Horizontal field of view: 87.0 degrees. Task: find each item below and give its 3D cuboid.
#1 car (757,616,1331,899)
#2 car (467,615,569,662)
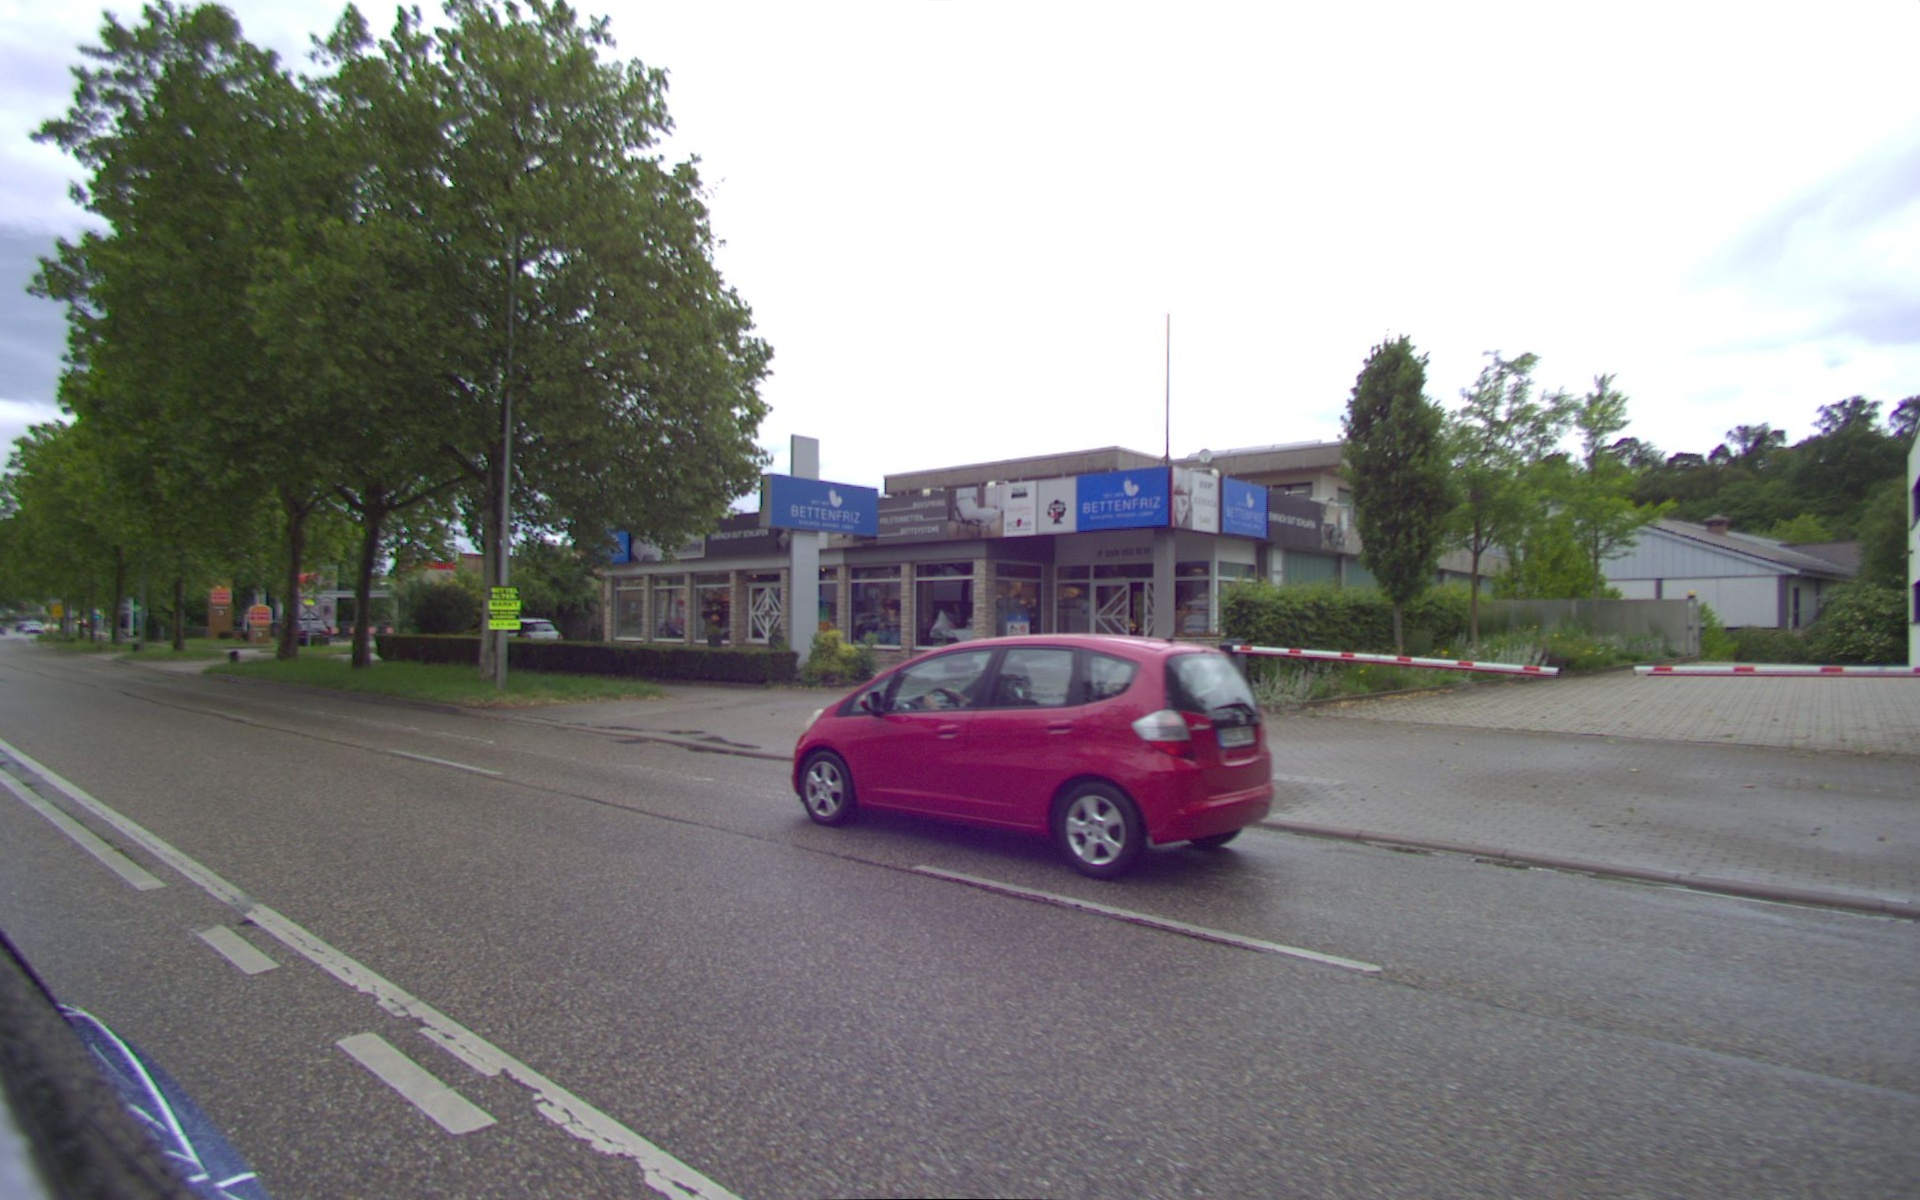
[{"bbox_3d":[0.465,0.935,7.558,3.997,1.545,1.724,-1,-4,40],"label":"car"},{"bbox_3d":[-15.523,1.334,35.465,3.999,1.545,1.723,-1,-4,42],"label":"car"}]
